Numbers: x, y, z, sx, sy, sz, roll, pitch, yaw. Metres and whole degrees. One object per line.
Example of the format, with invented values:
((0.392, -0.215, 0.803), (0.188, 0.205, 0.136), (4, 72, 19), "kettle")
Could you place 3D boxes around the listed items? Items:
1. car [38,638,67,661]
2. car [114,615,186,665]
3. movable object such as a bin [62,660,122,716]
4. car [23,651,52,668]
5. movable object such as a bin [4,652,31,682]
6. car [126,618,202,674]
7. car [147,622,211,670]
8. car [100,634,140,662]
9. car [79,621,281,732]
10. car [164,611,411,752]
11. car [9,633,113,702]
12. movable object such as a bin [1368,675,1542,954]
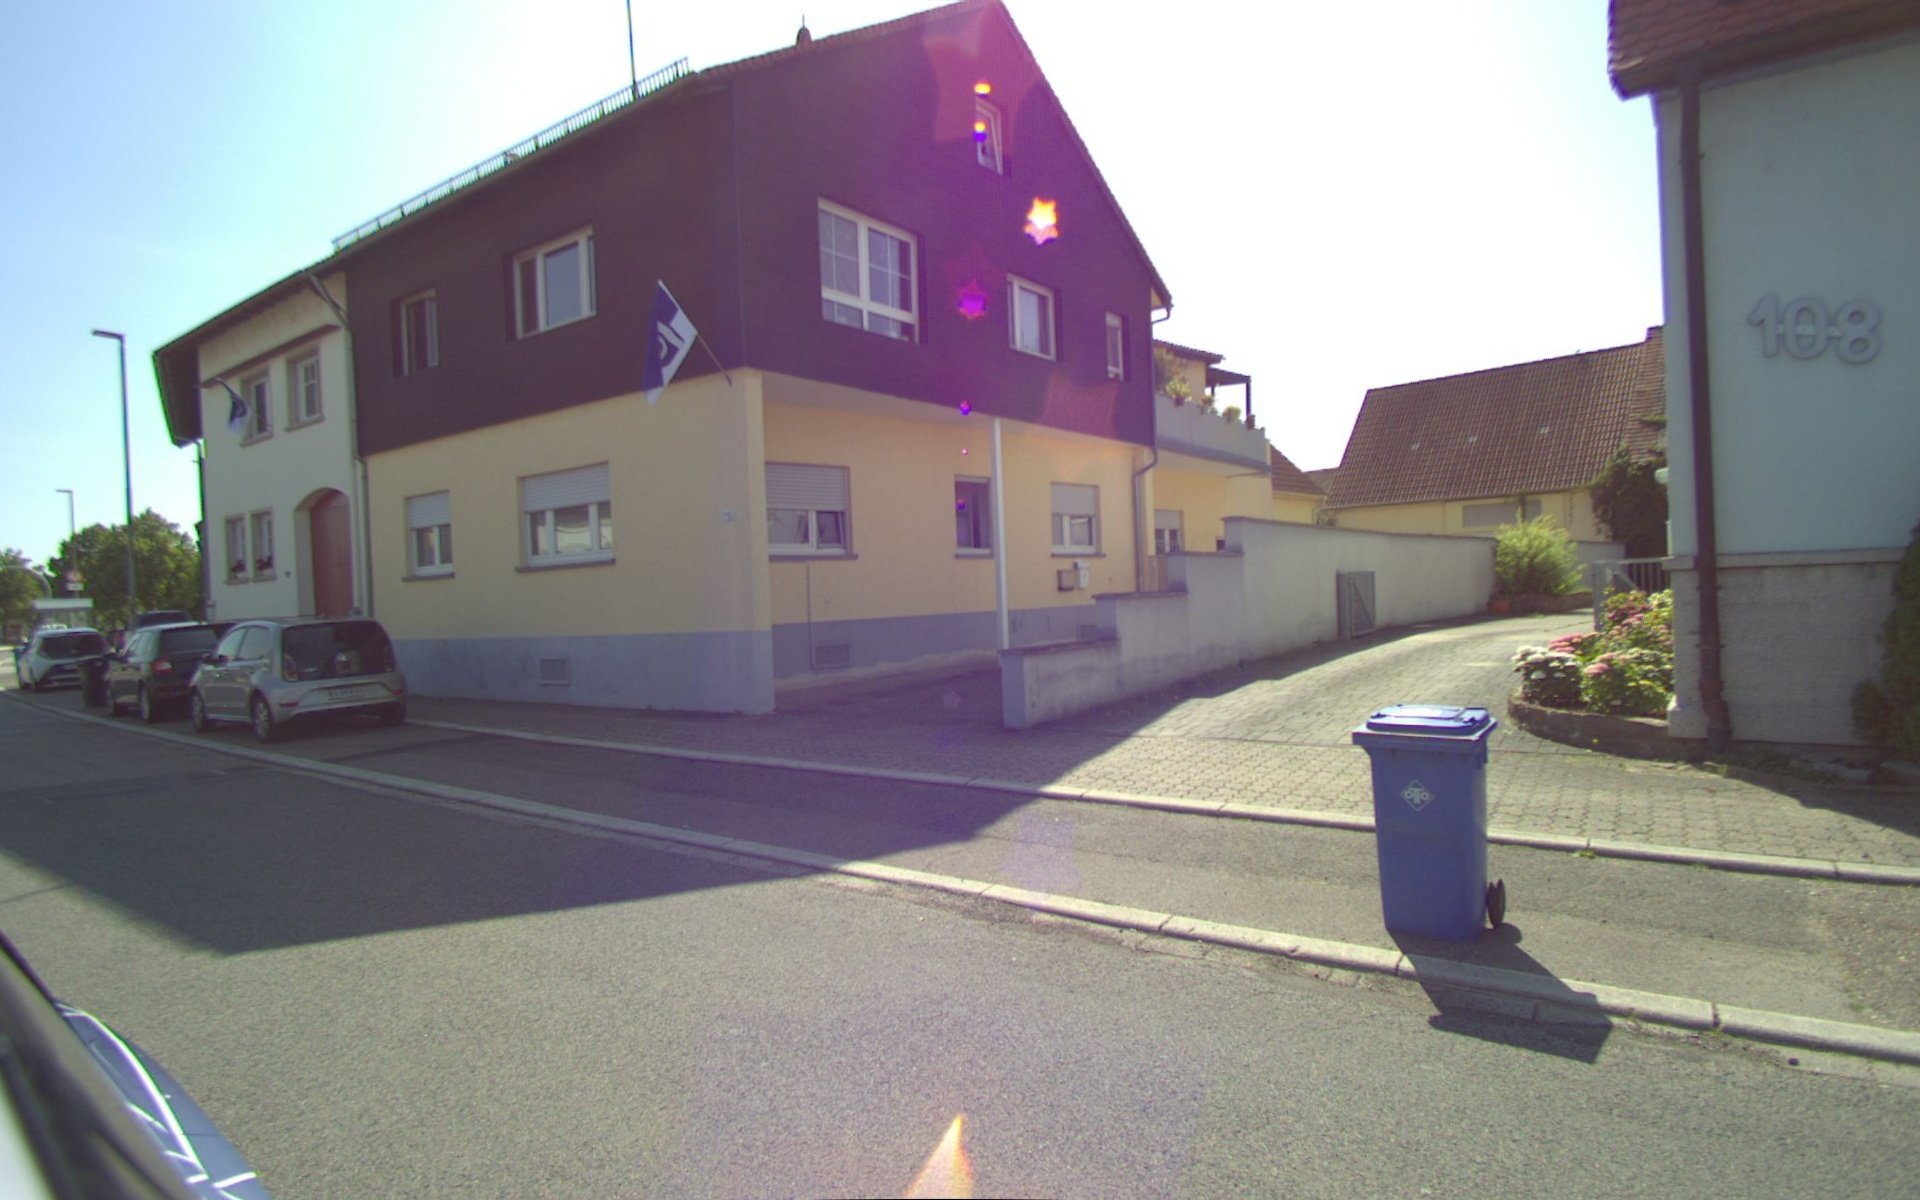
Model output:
((-105.927, 5.789, 118.141), (1.908, 2.521, 5.851), (-1, -1, -36), "car")
((-38.514, 1.857, 48.052), (2.102, 2.000, 5.270), (-8, 4, -43), "car")
((-15.960, 1.608, 18.607), (0.823, 0.935, 0.547), (-3, 3, 34), "movable object such as a bin")
((-99.127, 6.354, 108.724), (1.817, 1.604, 4.115), (-1, -1, -36), "car")
((-31.584, 2.256, 33.921), (0.514, 0.943, 0.552), (-3, 1, 38), "movable object such as a bin")
((-29.570, 1.685, 37.712), (1.812, 1.806, 4.354), (-5, 1, -34), "car")
((-32.059, 1.830, 41.602), (1.942, 1.787, 4.286), (-3, 0, -37), "car")
((-49.259, 2.845, 59.321), (1.694, 1.464, 3.920), (-3, -1, -41), "car")
((-12.731, 1.171, 16.433), (3.991, 1.447, 1.662), (-2, 3, 39), "car")
((-8.989, 0.996, 13.418), (3.777, 1.512, 1.625), (-2, 2, 39), "car")
((-22.349, 1.614, 25.127), (3.651, 1.473, 1.665), (-2, 1, 45), "car")
((2.067, 0.838, 4.213), (0.530, 0.989, 0.591), (-2, 1, 35), "movable object such as a bin")
